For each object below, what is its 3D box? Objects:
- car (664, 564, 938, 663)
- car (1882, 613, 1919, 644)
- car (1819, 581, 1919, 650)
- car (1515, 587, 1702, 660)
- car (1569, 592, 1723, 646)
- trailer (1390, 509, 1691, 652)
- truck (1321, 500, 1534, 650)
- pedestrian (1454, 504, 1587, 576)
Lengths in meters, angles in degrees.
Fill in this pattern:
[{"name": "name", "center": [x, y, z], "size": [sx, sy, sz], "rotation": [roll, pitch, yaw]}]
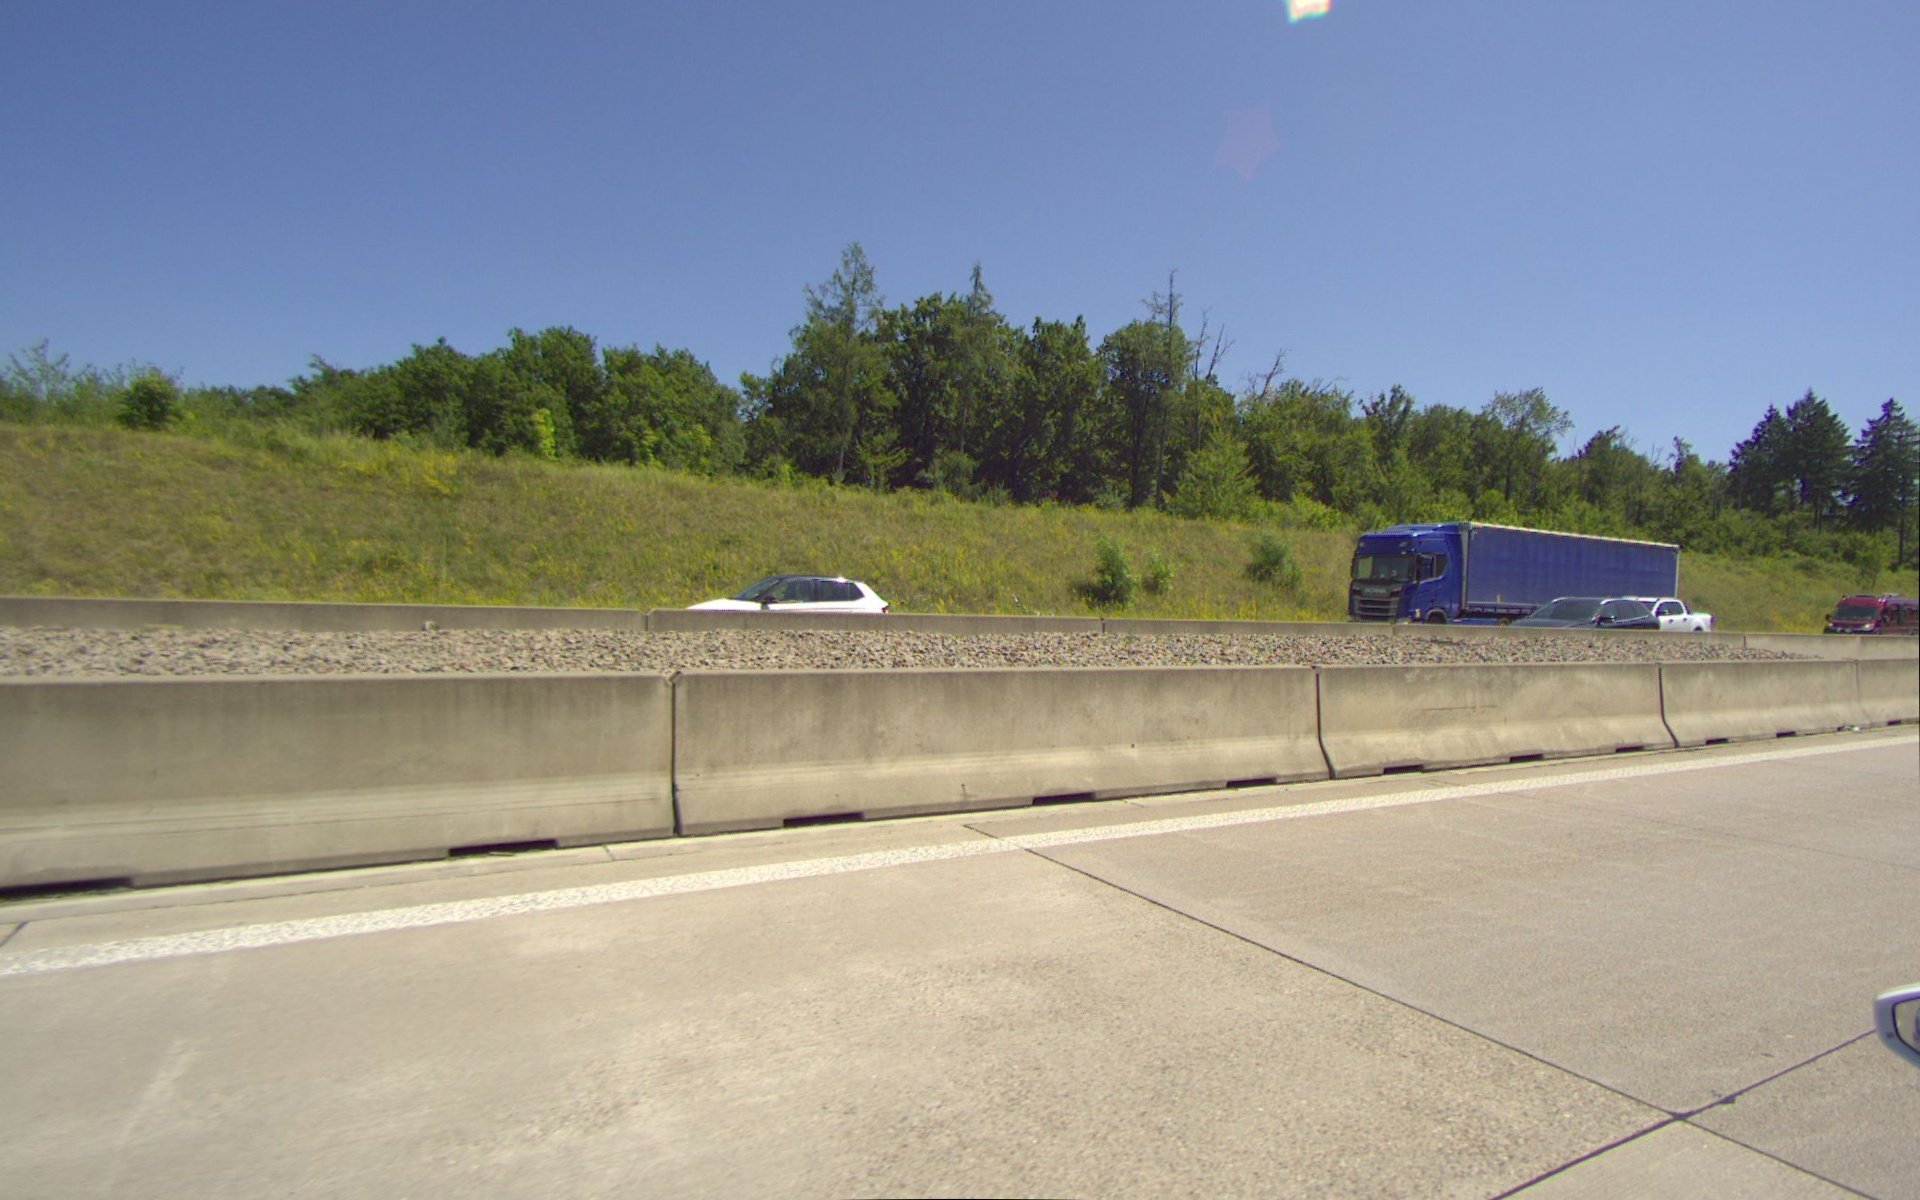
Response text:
[{"name": "car", "center": [-2.847, 0.262, 18.181], "size": [4.475, 1.604, 1.984], "rotation": [2, 0, -30]}, {"name": "car", "center": [50.788, 1.523, 53.450], "size": [3.535, 1.621, 1.606], "rotation": [2, -2, -30]}, {"name": "car", "center": [45.995, 0.796, 50.530], "size": [6.978, 3.285, 1.984], "rotation": [1, 0, -30]}, {"name": "car", "center": [15.663, 0.569, 24.231], "size": [4.350, 1.604, 1.984], "rotation": [2, 0, -30]}, {"name": "car", "center": [22.513, 0.622, 32.902], "size": [5.453, 1.604, 1.984], "rotation": [2, 0, -30]}, {"name": "trailer", "center": [21.895, -0.487, 37.366], "size": [13.575, 4.564, 3.241], "rotation": [2, 0, -30]}, {"name": "truck", "center": [15.756, -0.703, 33.837], "size": [6.496, 4.564, 3.241], "rotation": [2, 0, -30]}, {"name": "pedestrian", "center": [18.181, -1.871, 32.556], "size": [3.953, 2.040, 1.984], "rotation": [2, 0, -30]}]
